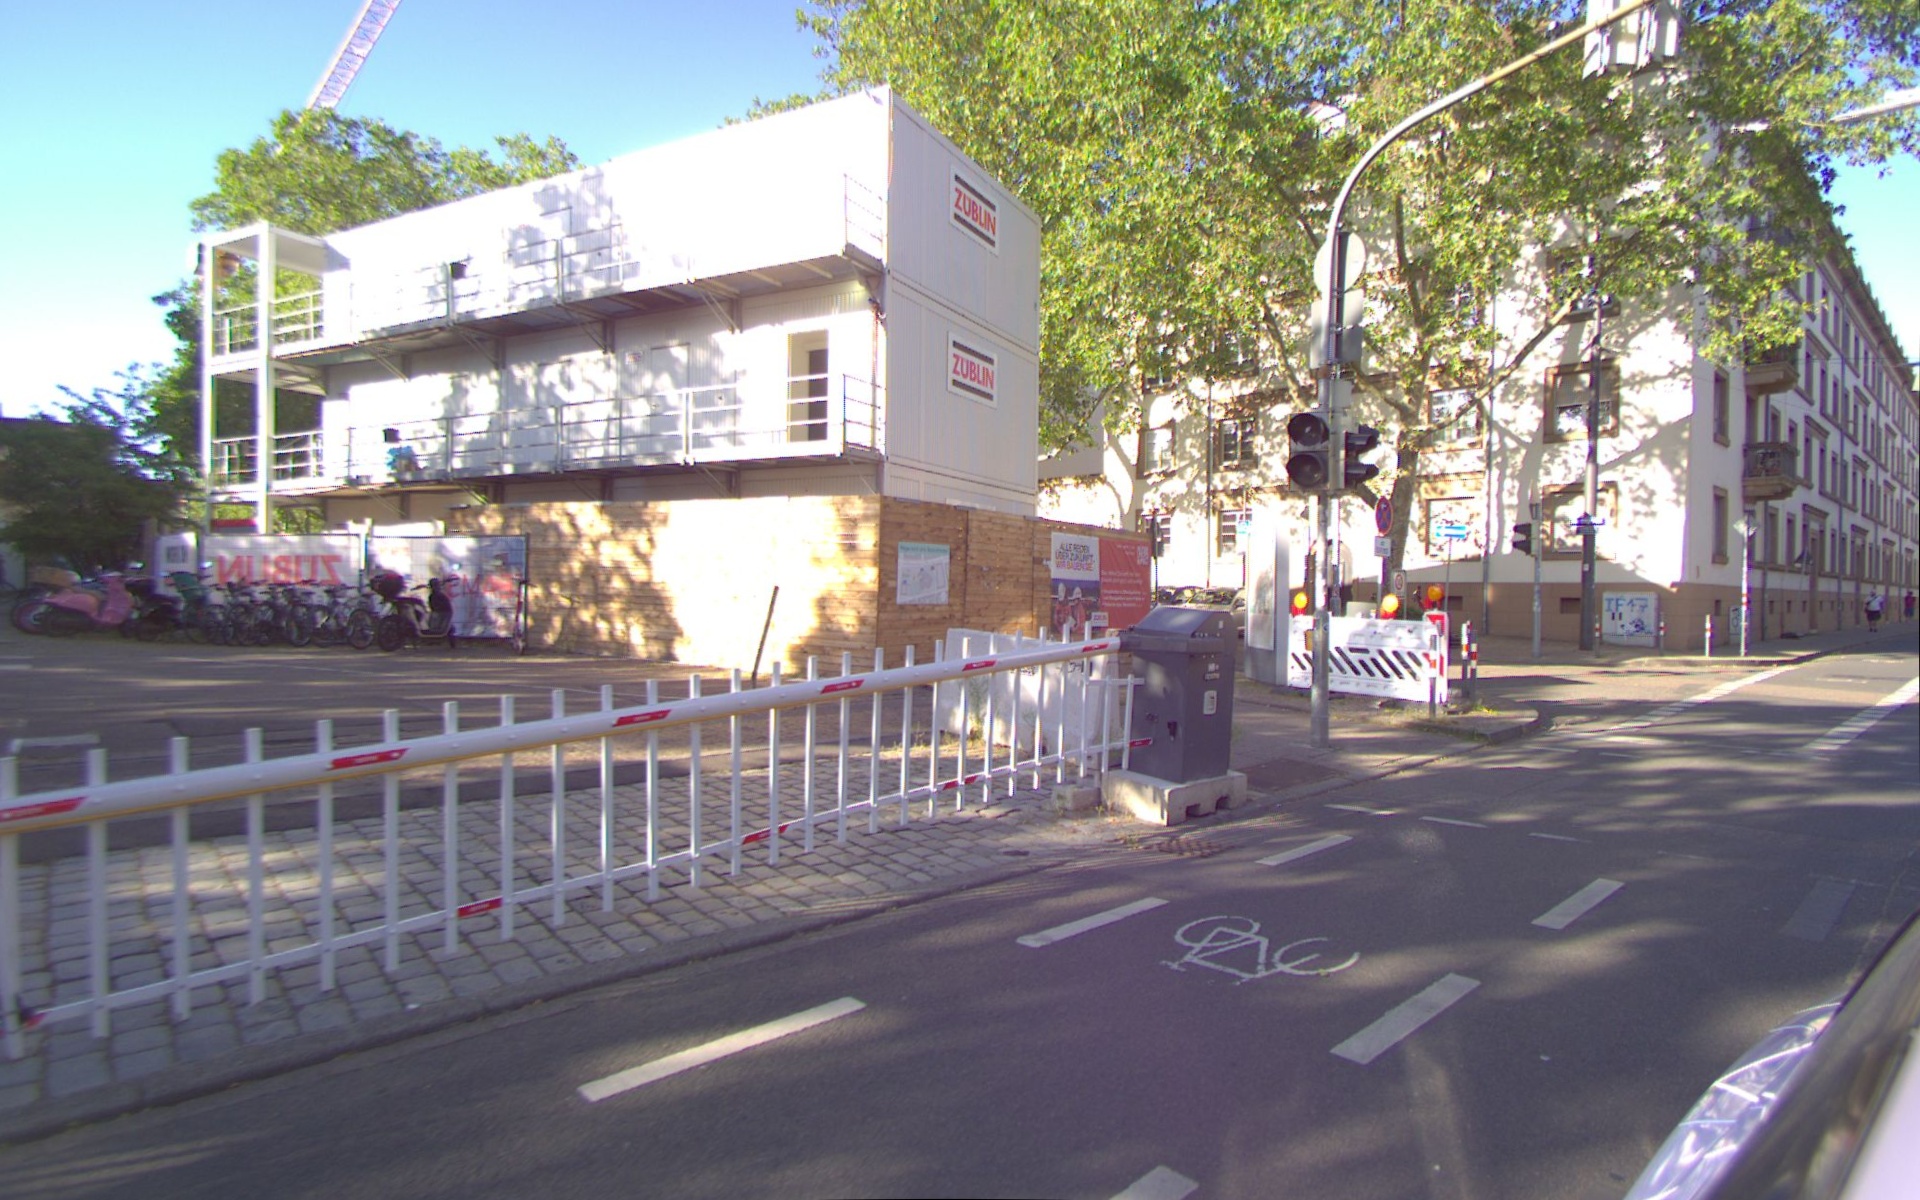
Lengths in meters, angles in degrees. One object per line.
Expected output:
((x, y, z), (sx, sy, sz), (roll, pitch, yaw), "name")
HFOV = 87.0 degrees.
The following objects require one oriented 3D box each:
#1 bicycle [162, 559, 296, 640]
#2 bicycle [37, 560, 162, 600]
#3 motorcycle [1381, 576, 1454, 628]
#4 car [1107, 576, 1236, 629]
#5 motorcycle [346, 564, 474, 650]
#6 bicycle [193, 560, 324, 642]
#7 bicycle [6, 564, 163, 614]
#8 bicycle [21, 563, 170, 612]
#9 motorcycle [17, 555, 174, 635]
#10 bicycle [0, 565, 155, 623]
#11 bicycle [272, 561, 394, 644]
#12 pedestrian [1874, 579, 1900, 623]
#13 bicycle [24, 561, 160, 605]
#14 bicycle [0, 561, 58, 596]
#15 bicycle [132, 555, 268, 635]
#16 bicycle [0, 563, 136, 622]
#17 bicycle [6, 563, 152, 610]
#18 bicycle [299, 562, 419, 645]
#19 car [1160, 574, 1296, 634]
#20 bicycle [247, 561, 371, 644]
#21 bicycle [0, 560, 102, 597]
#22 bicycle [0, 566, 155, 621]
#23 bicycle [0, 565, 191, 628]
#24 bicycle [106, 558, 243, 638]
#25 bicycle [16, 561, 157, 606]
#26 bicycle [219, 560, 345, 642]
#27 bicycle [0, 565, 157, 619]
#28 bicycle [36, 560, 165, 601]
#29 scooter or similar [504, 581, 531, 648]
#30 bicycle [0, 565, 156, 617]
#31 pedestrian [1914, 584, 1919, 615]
((-12.328, -0.036, 17.157), (0.534, 1.273, 2.044), (2, 2, 10), "bicycle")
((-26.005, -0.608, 30.668), (2.783, 1.161, 0.822), (0, 2, -34), "bicycle")
((12.544, 0.038, 27.789), (0.507, 1.349, 1.759), (0, 1, -44), "motorcycle")
((6.598, 0.042, 31.295), (4.401, 1.519, 1.724), (0, 2, -43), "car")
((-8.763, 0.081, 16.245), (0.534, 1.273, 2.206), (2, 2, 10), "motorcycle")
((-11.754, -0.013, 17.046), (0.534, 1.273, 2.044), (2, 2, 10), "bicycle")
((-21.184, -0.268, 24.583), (2.783, 1.161, 0.822), (0, 2, -34), "bicycle")
((-21.832, -0.314, 25.663), (2.783, 1.161, 0.822), (0, 2, -34), "bicycle")
((-14.753, -0.104, 17.363), (0.534, 1.273, 2.206), (2, 2, 10), "motorcycle")
((-18.981, -0.133, 21.575), (2.783, 1.161, 0.822), (0, 2, -34), "bicycle")
((-10.260, 0.005, 16.652), (0.464, 1.273, 2.044), (2, 2, 10), "bicycle")
((40.343, 0.028, 44.055), (0.685, 1.860, 0.736), (0, 1, -43), "pedestrian")
((-24.005, -0.469, 28.074), (2.783, 1.161, 0.822), (0, 2, -34), "bicycle")
((-32.097, -0.733, 33.879), (2.788, 1.161, 0.821), (0, 2, -40), "bicycle")
((-12.908, -0.105, 17.269), (0.534, 1.273, 2.044), (2, 2, 10), "bicycle")
((-18.601, -0.159, 20.575), (2.783, 1.161, 0.822), (0, 2, -34), "bicycle")
((-22.959, -0.355, 26.462), (2.783, 1.161, 0.822), (0, 2, -34), "bicycle")
((-9.794, 0.028, 16.580), (0.464, 1.273, 2.044), (2, 2, 10), "bicycle")
((7.742, 0.079, 29.018), (4.401, 1.590, 1.724), (0, 1, -43), "car")
((-10.729, 0.014, 16.766), (0.464, 1.273, 2.044), (2, 2, 10), "bicycle")
((-30.000, -0.695, 33.202), (2.788, 1.161, 0.821), (0, 2, -40), "bicycle")
((-19.523, -0.145, 22.252), (2.783, 1.161, 0.822), (0, 2, -34), "bicycle")
((-16.920, -0.071, 19.907), (2.783, 1.161, 0.822), (0, 2, -34), "bicycle")
((-13.472, -0.060, 17.443), (0.534, 1.273, 2.044), (2, 2, 10), "bicycle")
((-23.500, -0.433, 27.318), (2.783, 1.161, 0.822), (0, 2, -34), "bicycle")
((-11.238, -0.016, 16.864), (0.464, 1.273, 2.044), (2, 2, 10), "bicycle")
((-20.083, -0.188, 23.008), (2.783, 1.161, 0.822), (0, 2, -34), "bicycle")
((-25.173, -0.568, 29.722), (2.783, 1.161, 0.822), (0, 2, -34), "bicycle")
((-7.263, 0.217, 16.618), (0.377, 1.032, 1.491), (1, 2, -24), "scooter or similar")
((-20.675, -0.204, 23.723), (2.783, 1.161, 0.822), (0, 2, -34), "bicycle")
((57.059, -0.035, 59.929), (0.685, 1.860, 0.736), (0, 1, -43), "pedestrian")
